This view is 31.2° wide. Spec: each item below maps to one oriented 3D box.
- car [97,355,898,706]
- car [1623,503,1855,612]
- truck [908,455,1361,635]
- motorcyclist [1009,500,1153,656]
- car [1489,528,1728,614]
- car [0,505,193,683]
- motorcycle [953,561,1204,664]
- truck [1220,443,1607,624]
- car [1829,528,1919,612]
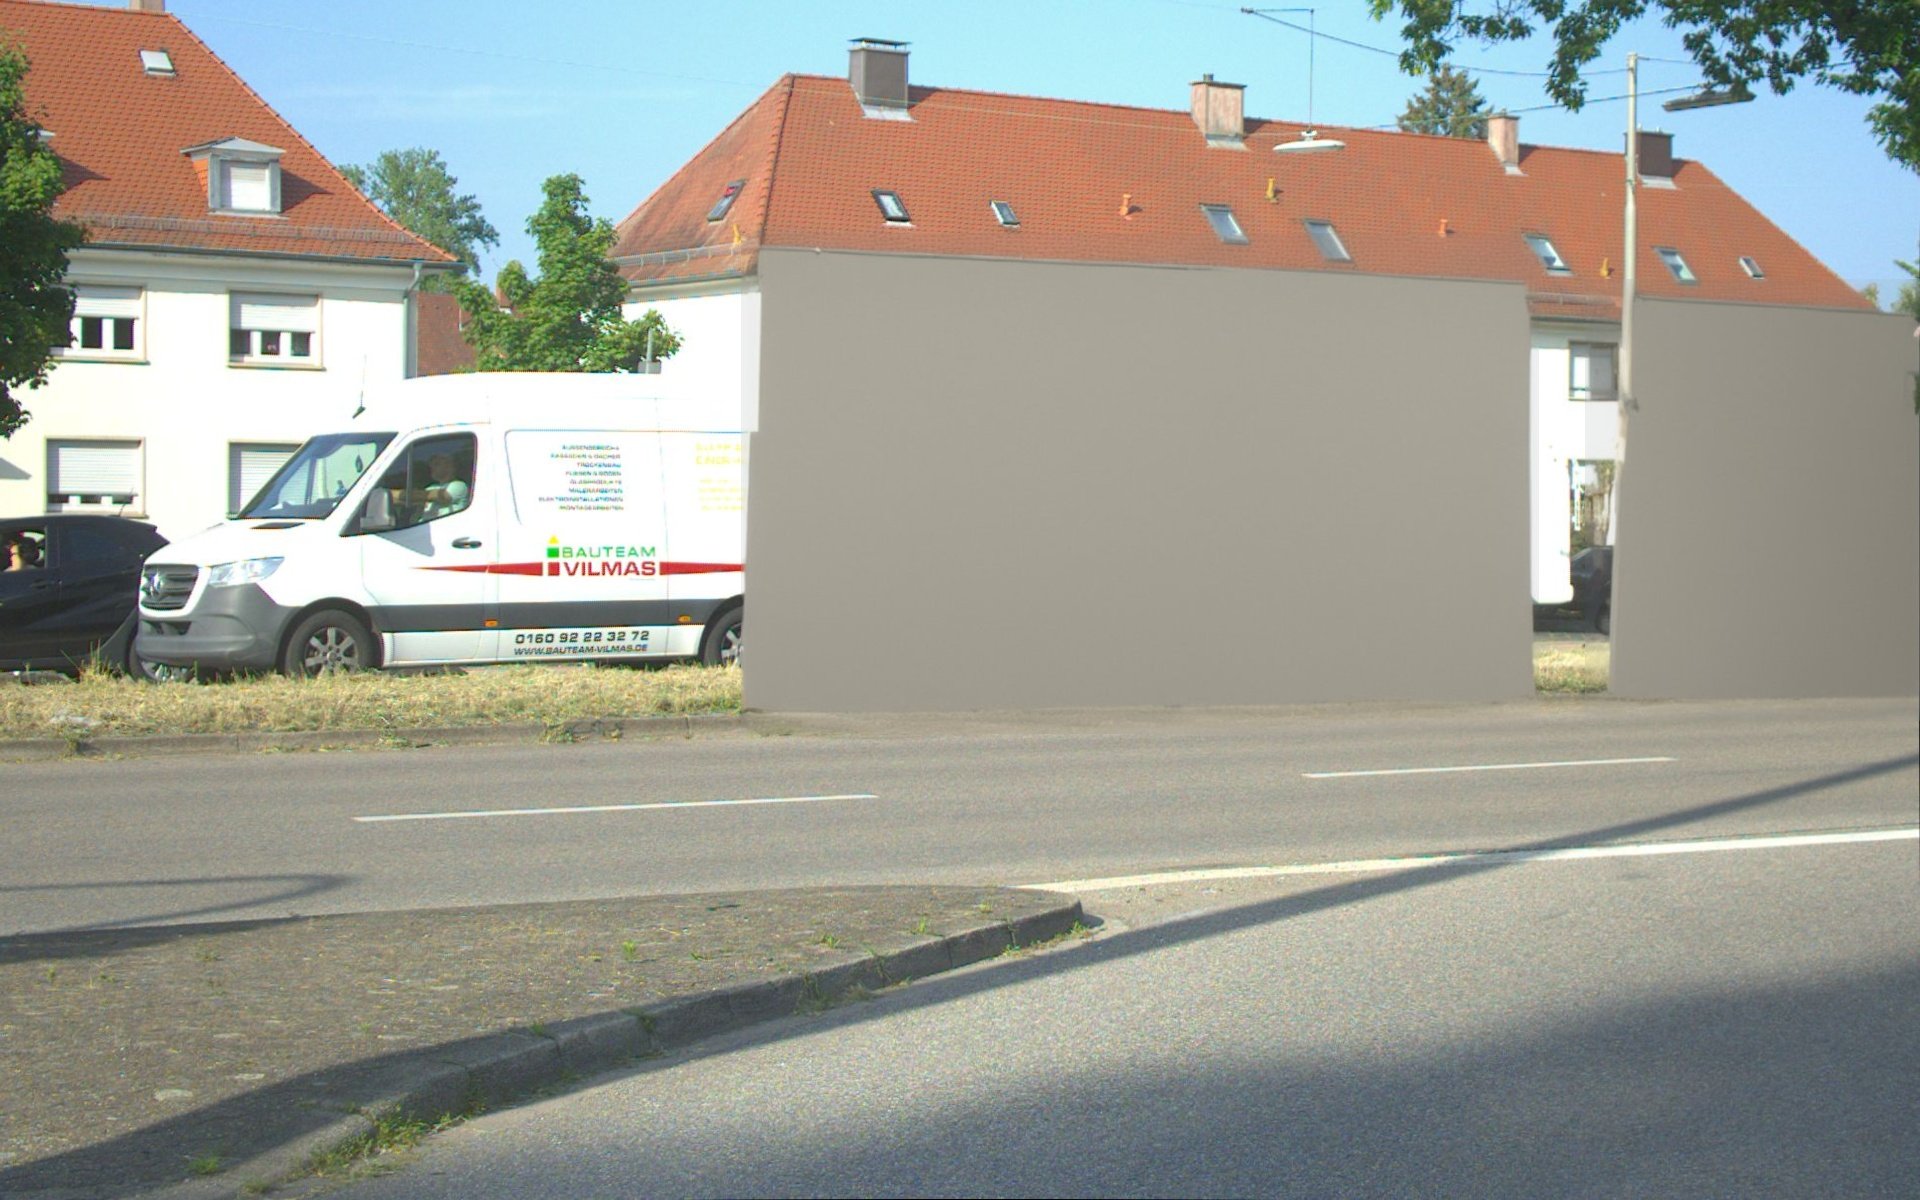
[{"bbox_3d":[-3.624,-0.544,27.818,6.209,2.574,2.000,0,1,-36],"label":"car"},{"bbox_3d":[13.901,-0.766,61.559,3.898,1.913,1.895,0,1,8],"label":"car"},{"bbox_3d":[2.603,-0.849,51.297,6.343,2.515,2.275,1,1,19],"label":"truck"},{"bbox_3d":[1.062,-0.201,30.215,1.066,1.347,0.679,0,1,-37],"label":"motorcyclist"},{"bbox_3d":[11.207,-0.518,59.657,3.897,1.451,1.896,0,1,5],"label":"car"},{"bbox_3d":[-8.567,-0.061,28.447,3.987,1.448,1.715,-1,1,-35],"label":"car"},{"bbox_3d":[1.060,0.098,30.226,2.271,0.863,0.690,0,1,-37],"label":"motorcycle"},{"bbox_3d":[7.277,-1.074,55.352,6.061,2.844,1.895,0,1,8],"label":"truck"},{"bbox_3d":[17.799,-0.560,63.149,3.490,1.508,1.895,0,1,12],"label":"car"}]
